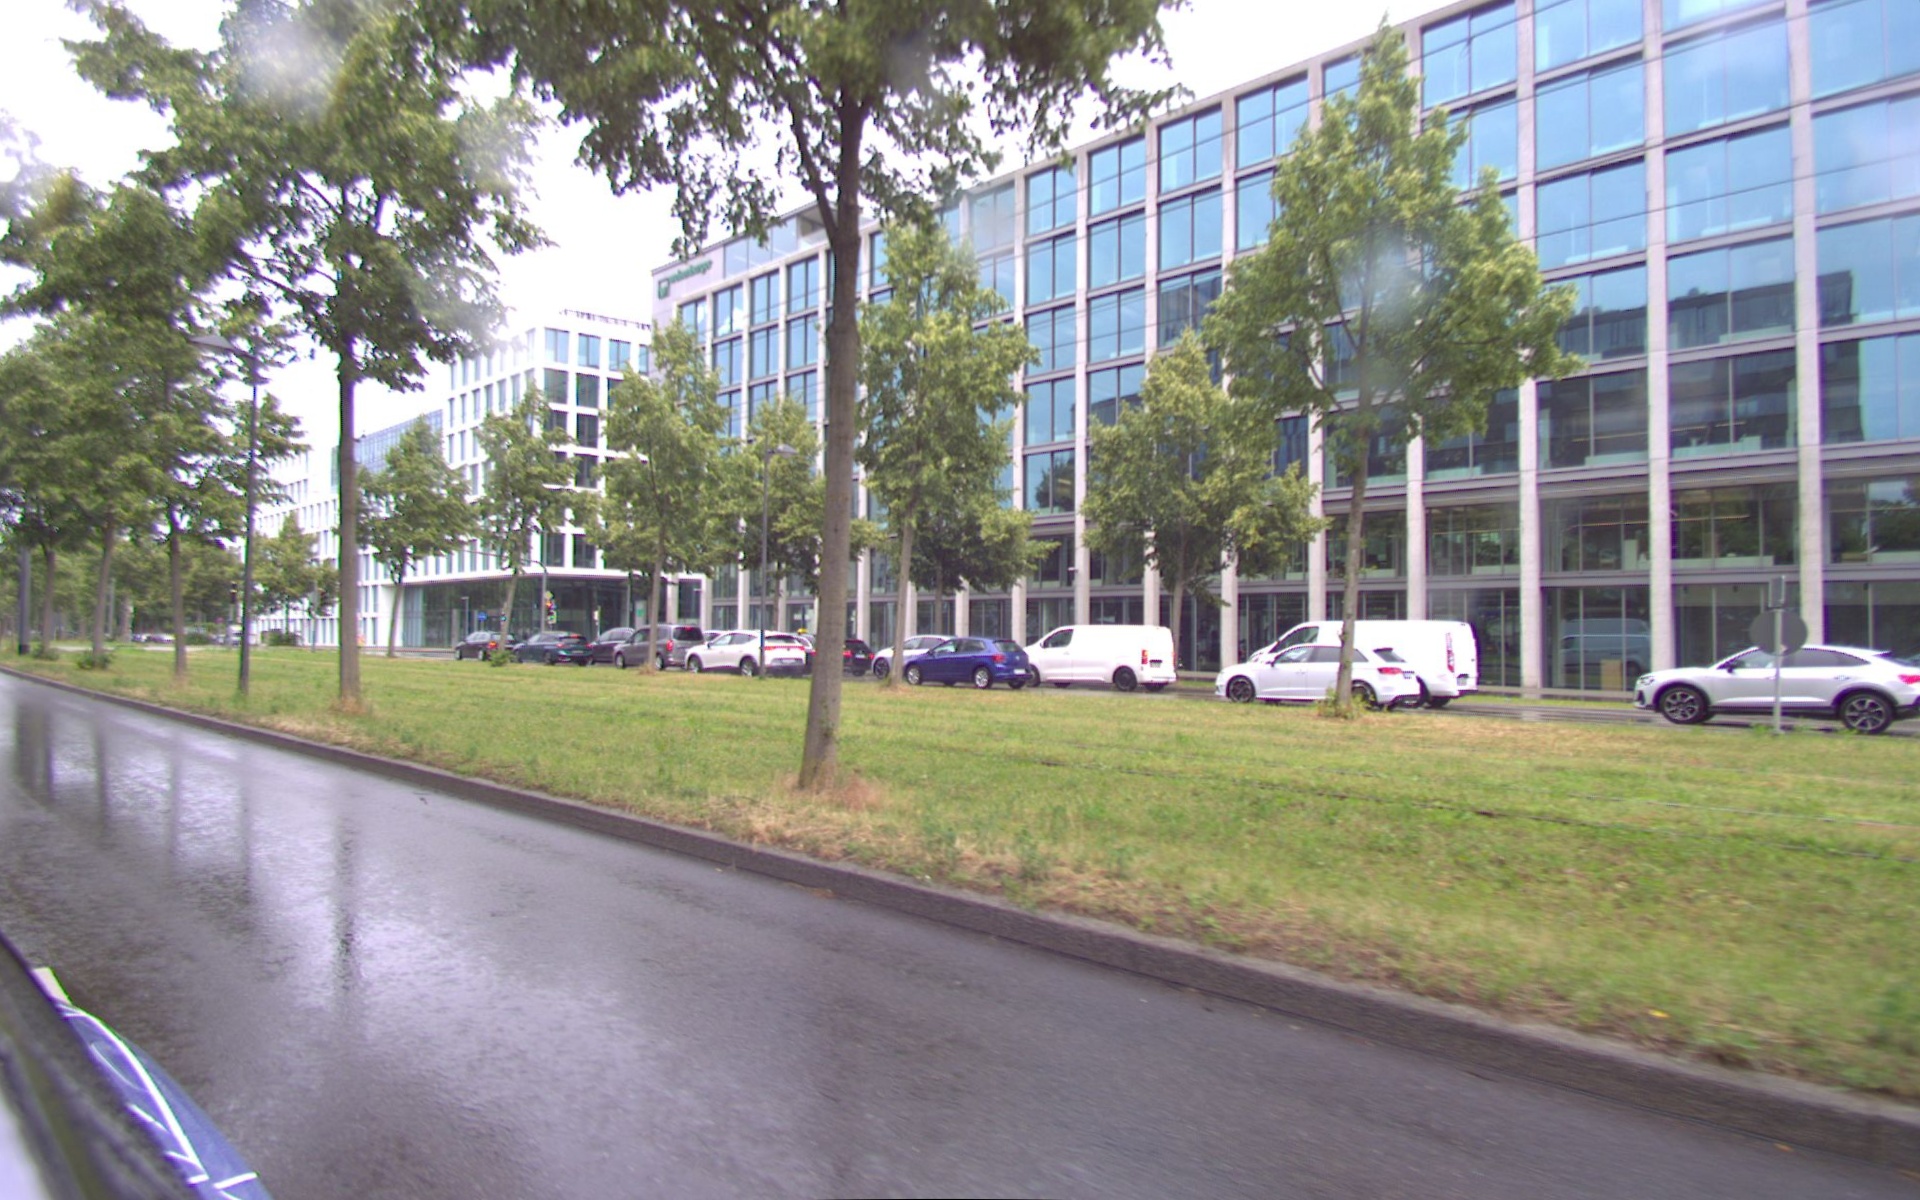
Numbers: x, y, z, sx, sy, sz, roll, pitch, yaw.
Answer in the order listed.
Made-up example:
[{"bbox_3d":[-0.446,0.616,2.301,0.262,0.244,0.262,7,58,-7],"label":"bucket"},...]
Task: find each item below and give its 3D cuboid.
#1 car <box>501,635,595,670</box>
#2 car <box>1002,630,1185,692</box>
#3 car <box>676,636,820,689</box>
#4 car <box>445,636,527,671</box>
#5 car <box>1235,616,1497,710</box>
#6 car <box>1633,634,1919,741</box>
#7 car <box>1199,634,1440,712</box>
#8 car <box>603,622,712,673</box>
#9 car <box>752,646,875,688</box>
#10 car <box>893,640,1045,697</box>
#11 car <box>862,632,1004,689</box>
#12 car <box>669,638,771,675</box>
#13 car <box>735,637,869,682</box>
[{"bbox_3d":[-17.903,2.294,43.906,4.468,1.396,1.931,-4,-5,40],"label":"car"},{"bbox_3d":[3.833,1.812,29.614,5.024,1.664,1.931,-4,-5,39],"label":"car"},{"bbox_3d":[-6.455,1.820,30.578,4.574,1.463,1.930,-2,-2,41],"label":"car"},{"bbox_3d":[-22.937,2.602,48.899,4.461,1.571,1.930,-4,-4,41],"label":"car"},{"bbox_3d":[9.675,1.543,24.453,5.372,2.022,2.243,-5,-5,42],"label":"car"},{"bbox_3d":[15.413,1.520,18.779,4.577,1.762,1.929,-2,-3,44],"label":"car"},{"bbox_3d":[7.760,1.515,22.124,4.574,1.525,1.930,-2,-2,41],"label":"car"},{"bbox_3d":[-11.745,1.865,39.166,4.540,1.863,1.930,-3,-4,41],"label":"car"},{"bbox_3d":[-5.462,2.485,37.362,4.620,1.458,1.840,-4,-5,39],"label":"car"},{"bbox_3d":[0.222,1.960,28.715,3.958,1.506,1.931,-4,-5,39],"label":"car"},{"bbox_3d":[-0.970,2.057,34.048,4.628,1.759,1.931,-4,-5,39],"label":"car"},{"bbox_3d":[-10.009,2.360,42.001,4.267,1.396,1.931,-4,-5,39],"label":"car"},{"bbox_3d":[-5.351,2.012,33.970,4.601,1.396,1.930,-5,-5,41],"label":"car"}]
